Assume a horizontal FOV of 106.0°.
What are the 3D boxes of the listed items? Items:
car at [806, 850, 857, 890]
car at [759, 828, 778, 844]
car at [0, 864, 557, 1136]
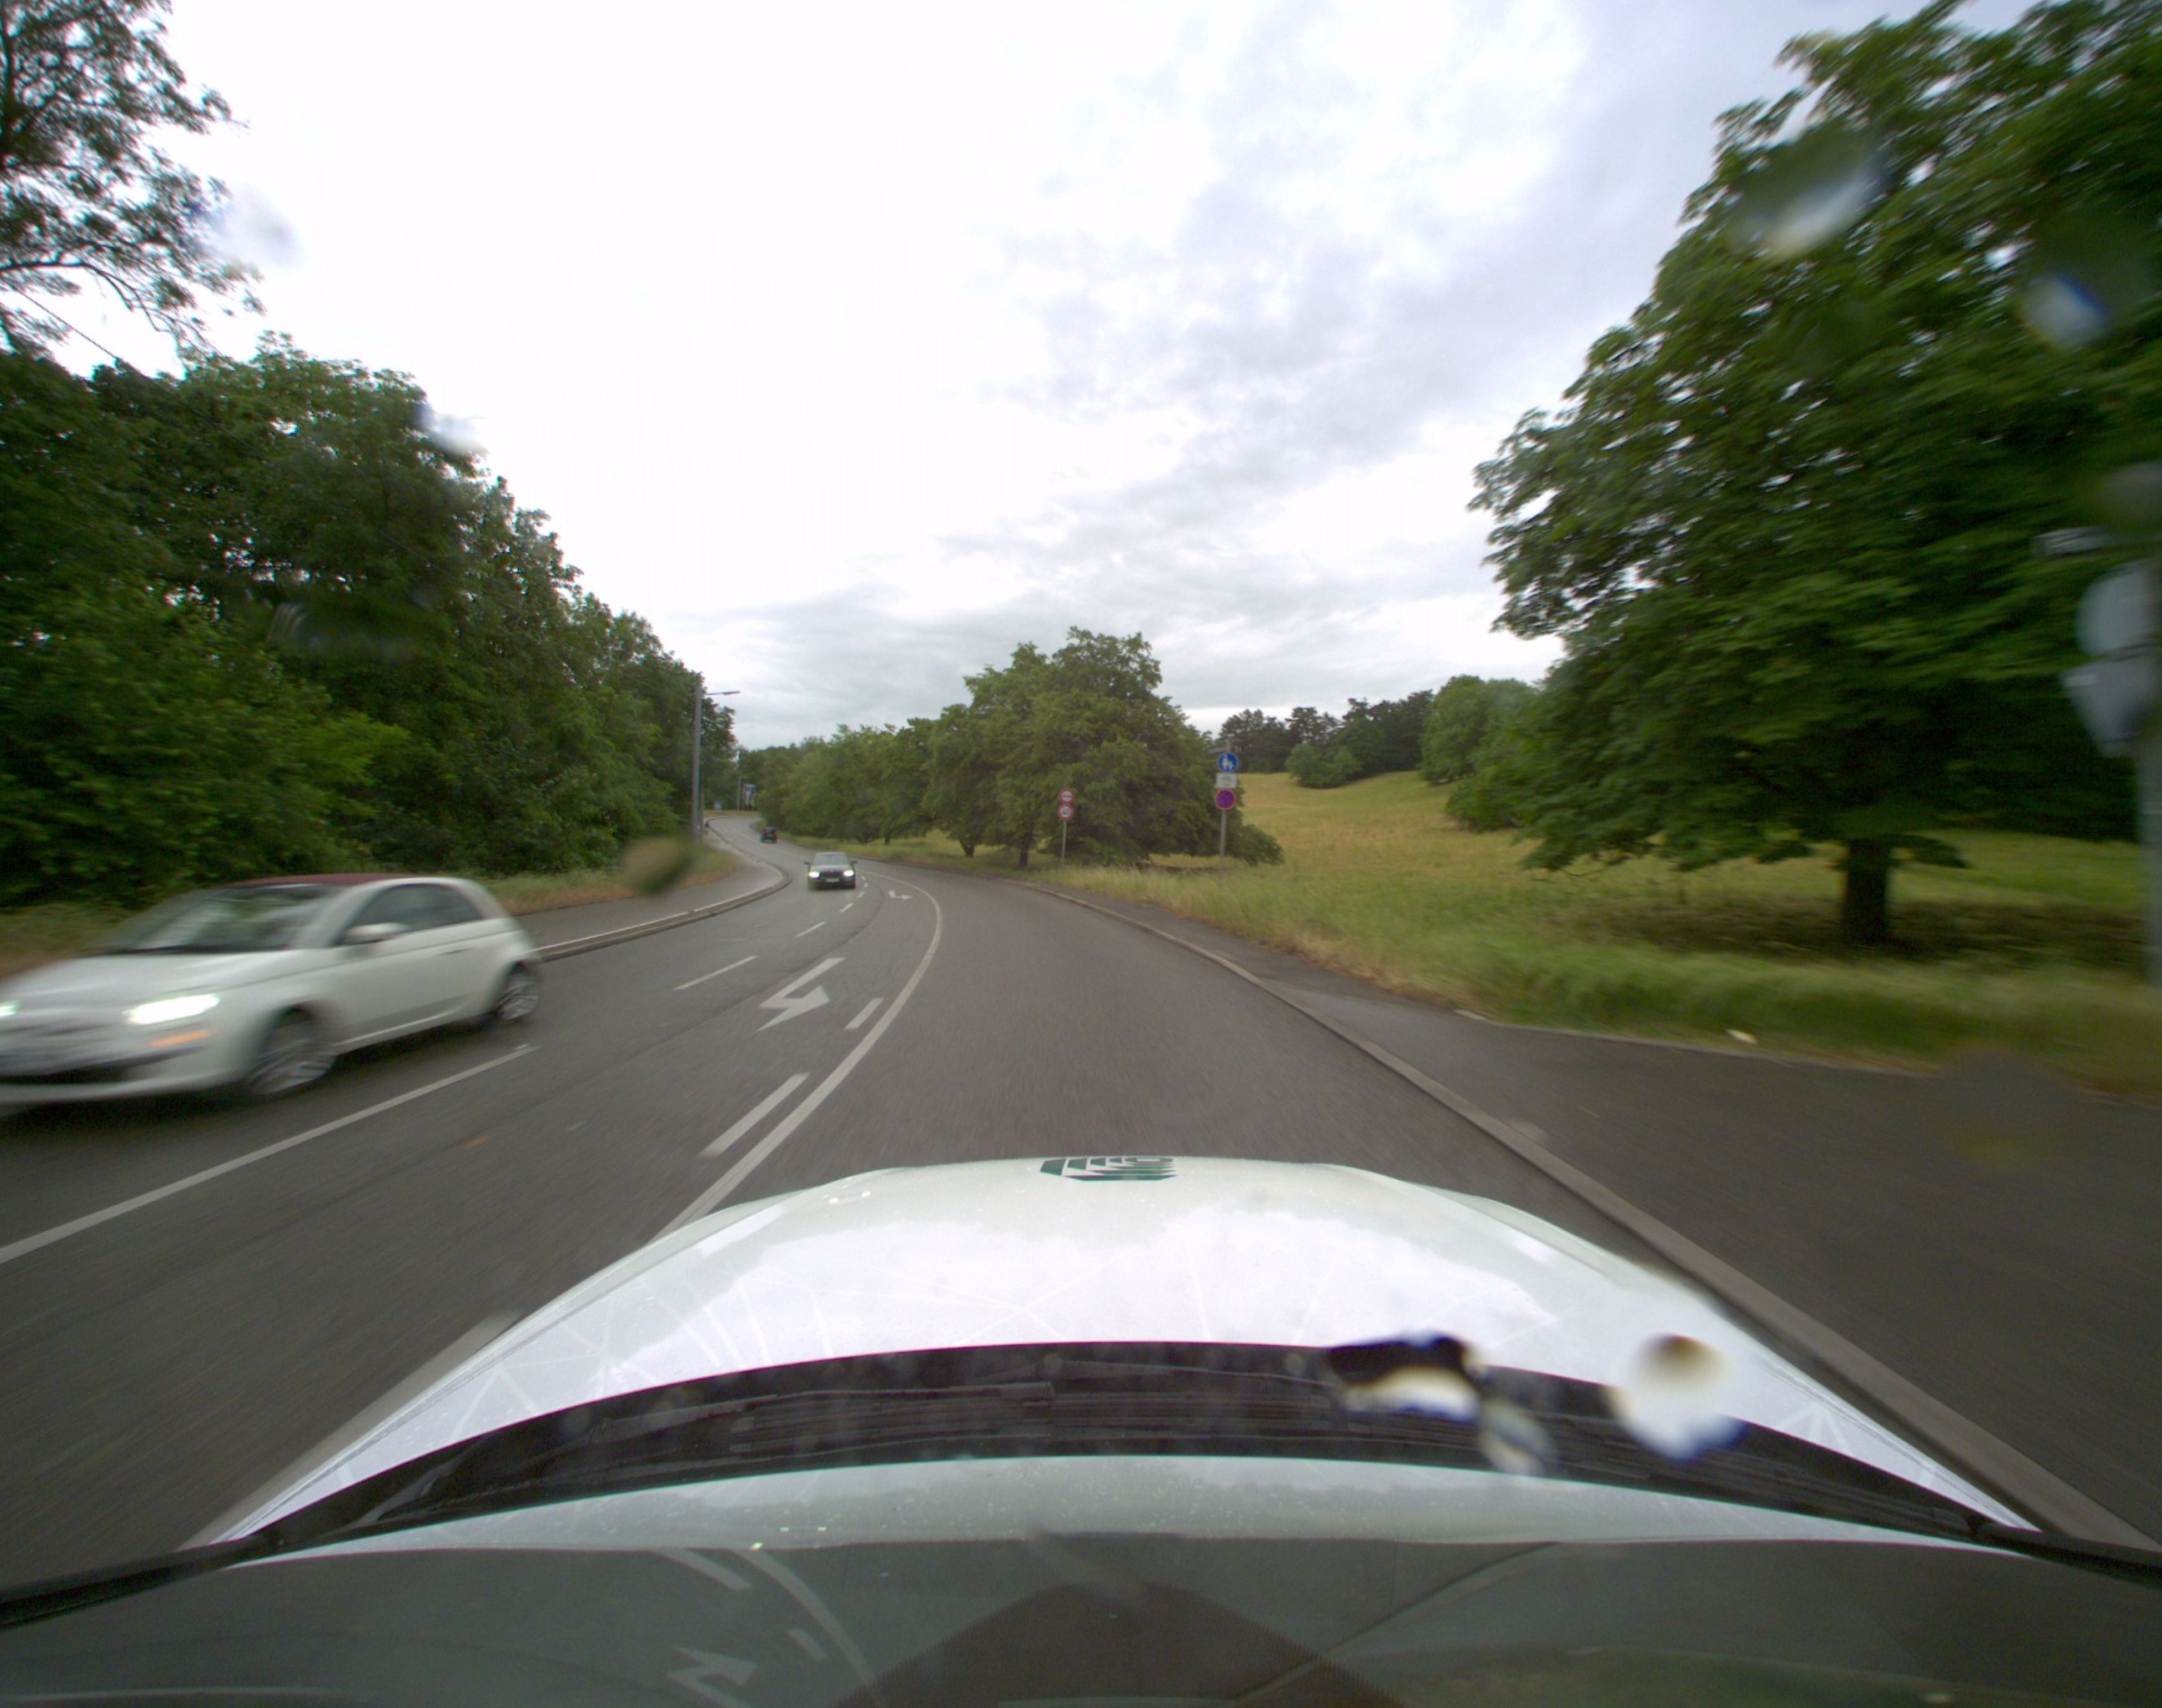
[{"bbox_3d":[-10.351,0.621,34.031,1.850,1.501,4.607,-2,0,-15],"label":"car"},{"bbox_3d":[-39.181,-2.274,102.092,1.751,1.716,3.967,2,1,-26],"label":"car"},{"bbox_3d":[-6.100,0.871,6.516,1.563,1.477,3.662,-2,0,-4],"label":"car"}]
